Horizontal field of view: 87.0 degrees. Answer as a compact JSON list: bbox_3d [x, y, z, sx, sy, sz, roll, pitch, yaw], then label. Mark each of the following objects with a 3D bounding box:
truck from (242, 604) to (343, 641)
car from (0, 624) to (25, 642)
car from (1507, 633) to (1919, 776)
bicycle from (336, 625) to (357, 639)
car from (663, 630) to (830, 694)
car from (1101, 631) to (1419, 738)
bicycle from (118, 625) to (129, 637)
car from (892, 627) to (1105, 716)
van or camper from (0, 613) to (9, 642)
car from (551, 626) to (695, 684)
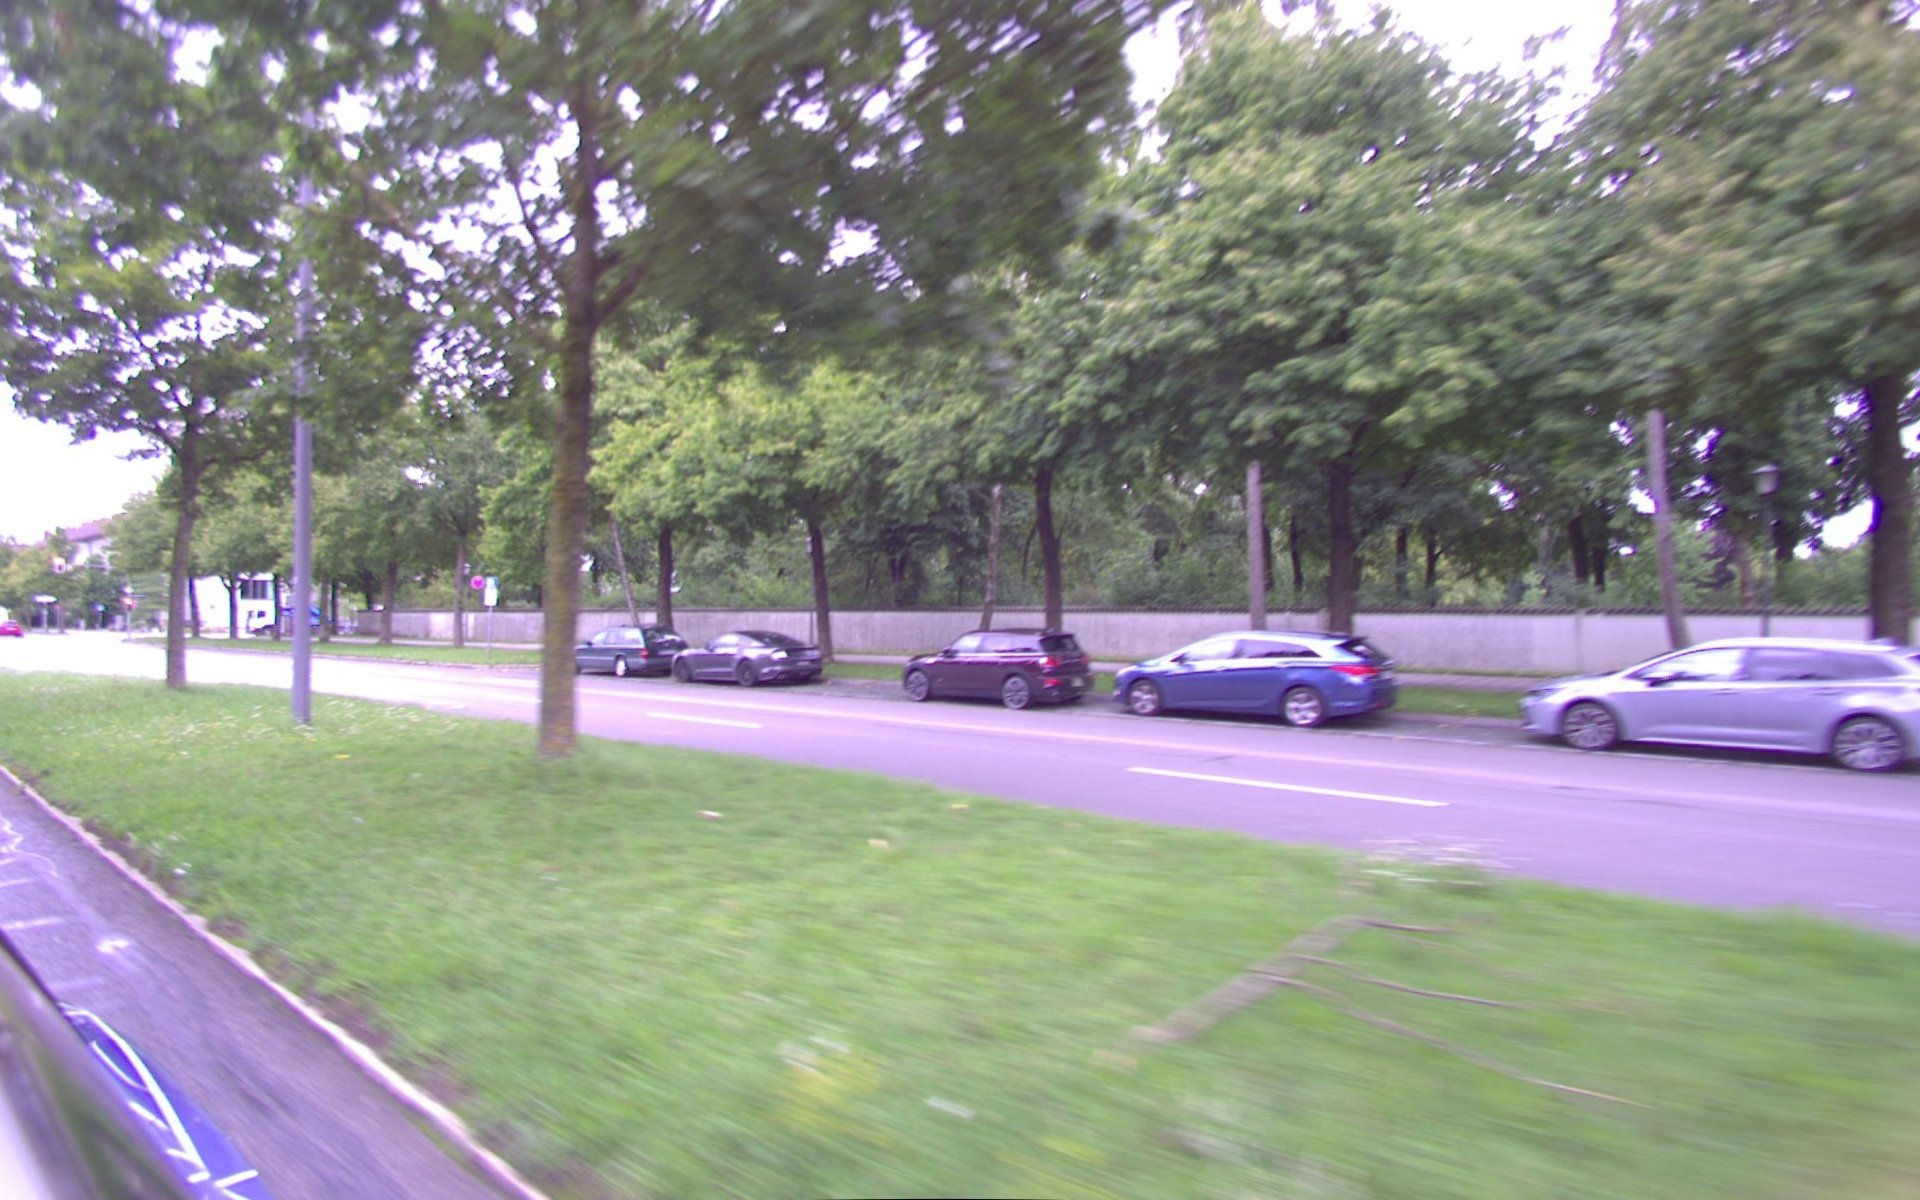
[{"bbox_3d":[-64.836,2.181,98.454,2.771,3.515,7.715,-1,-2,42],"label":"truck"},{"bbox_3d":[-82.146,2.836,87.223,4.655,1.463,1.725,-2,-4,41],"label":"car"},{"bbox_3d":[9.573,1.165,12.382,4.808,1.450,1.618,-1,0,42],"label":"car"},{"bbox_3d":[-52.891,2.753,87.214,2.494,1.195,0.827,-1,-2,40],"label":"bicycle"},{"bbox_3d":[-5.501,1.504,25.692,4.704,1.406,1.642,-1,0,41],"label":"car"},{"bbox_3d":[4.790,1.272,16.660,4.795,1.470,1.570,-1,0,40],"label":"car"},{"bbox_3d":[-88.079,3.261,106.542,1.825,1.190,0.539,-1,-2,40],"label":"bicycle"},{"bbox_3d":[0.658,1.325,19.991,1.553,1.514,4.305,-1,-1,-45],"label":"car"},{"bbox_3d":[-92.043,2.552,95.819,6.948,2.667,2.155,-1,-4,42],"label":"van or camper"},{"bbox_3d":[-9.964,1.554,29.724,4.912,1.501,1.780,-1,0,41],"label":"car"}]
